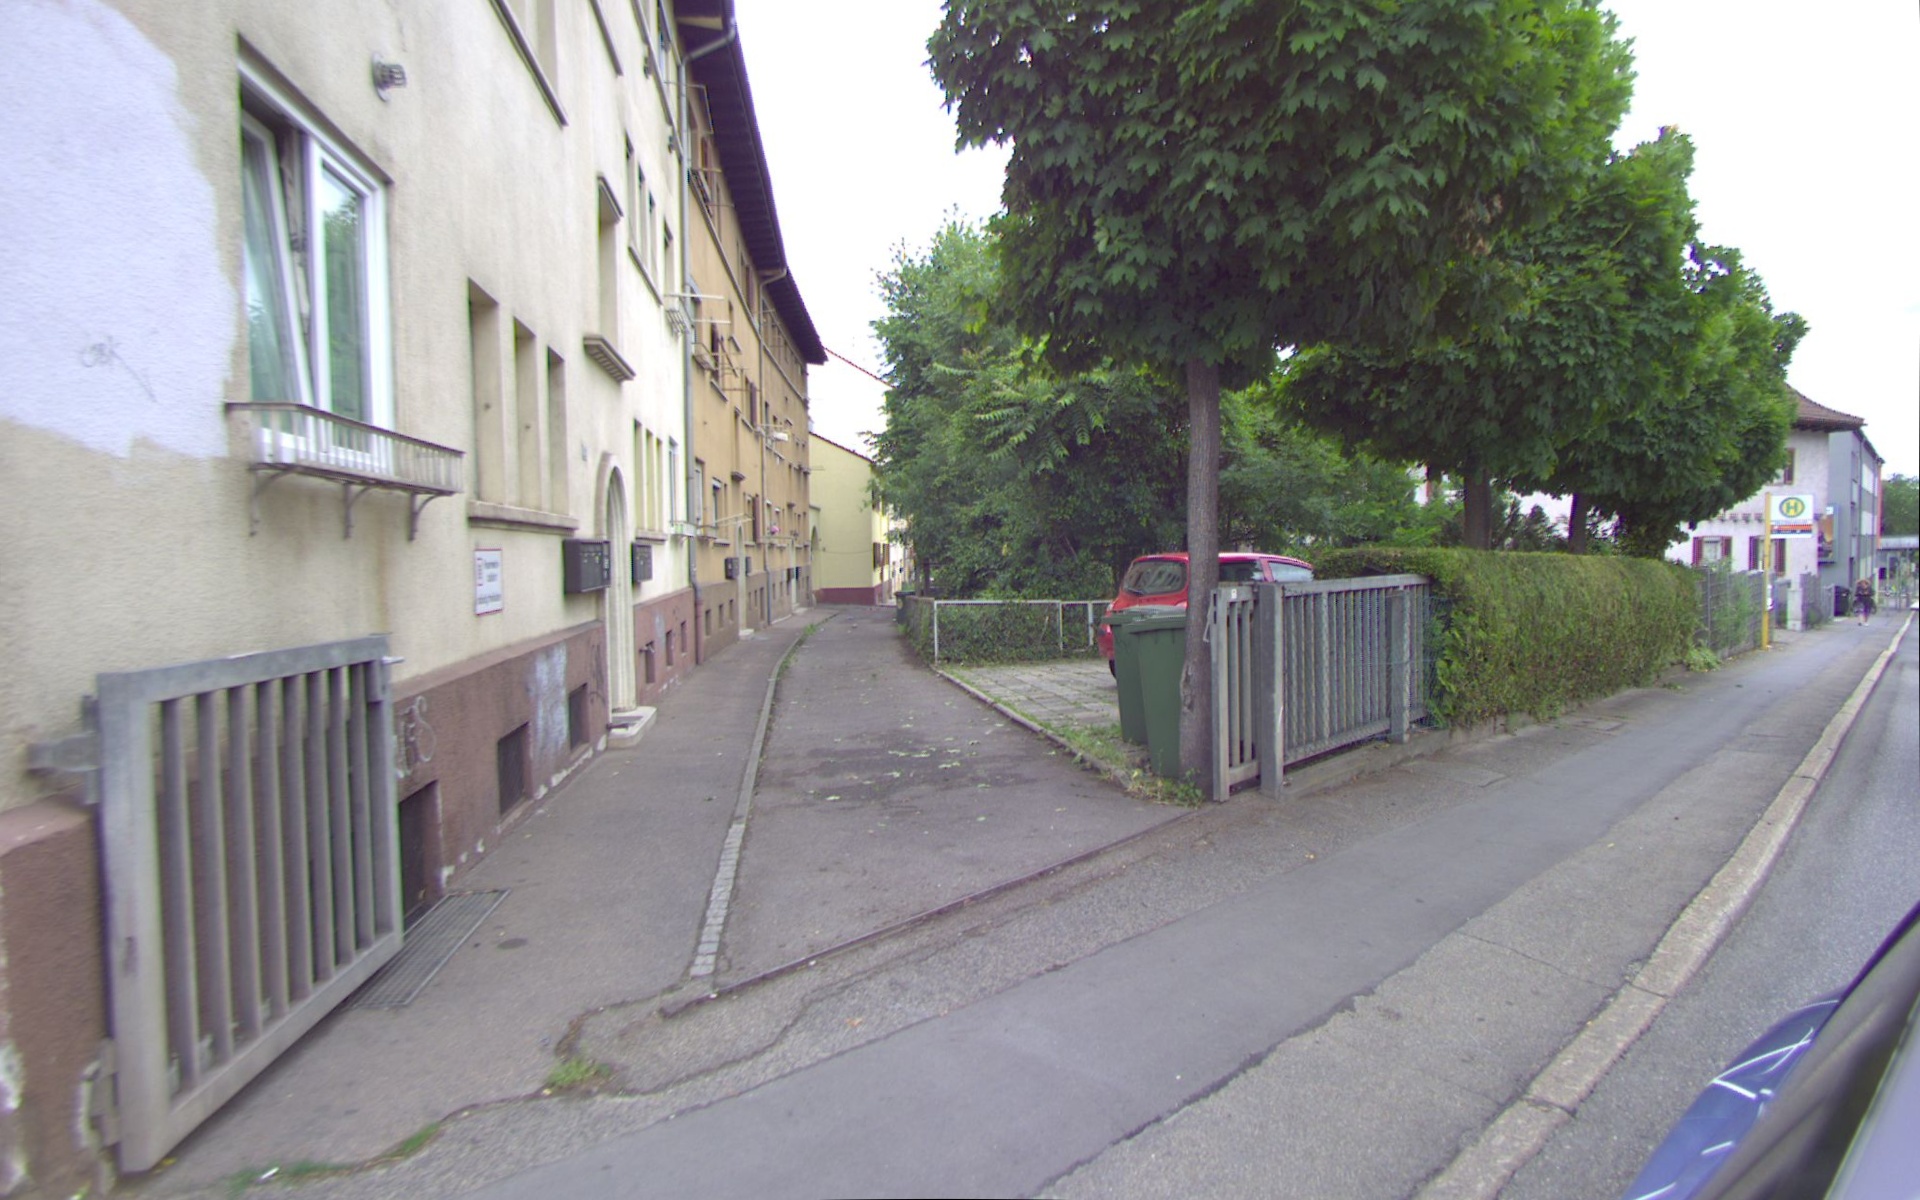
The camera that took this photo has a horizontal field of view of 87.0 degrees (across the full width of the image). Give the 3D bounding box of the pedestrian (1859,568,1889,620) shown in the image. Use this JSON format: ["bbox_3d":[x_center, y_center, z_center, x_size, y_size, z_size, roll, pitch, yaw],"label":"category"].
[{"bbox_3d":[33.117,-0.210,36.666,0.580,1.863,0.648,0,1,-27],"label":"pedestrian"}]

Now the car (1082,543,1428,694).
[{"bbox_3d":[3.270,0.141,11.326,3.367,1.478,1.705,-1,1,-22],"label":"car"}]
